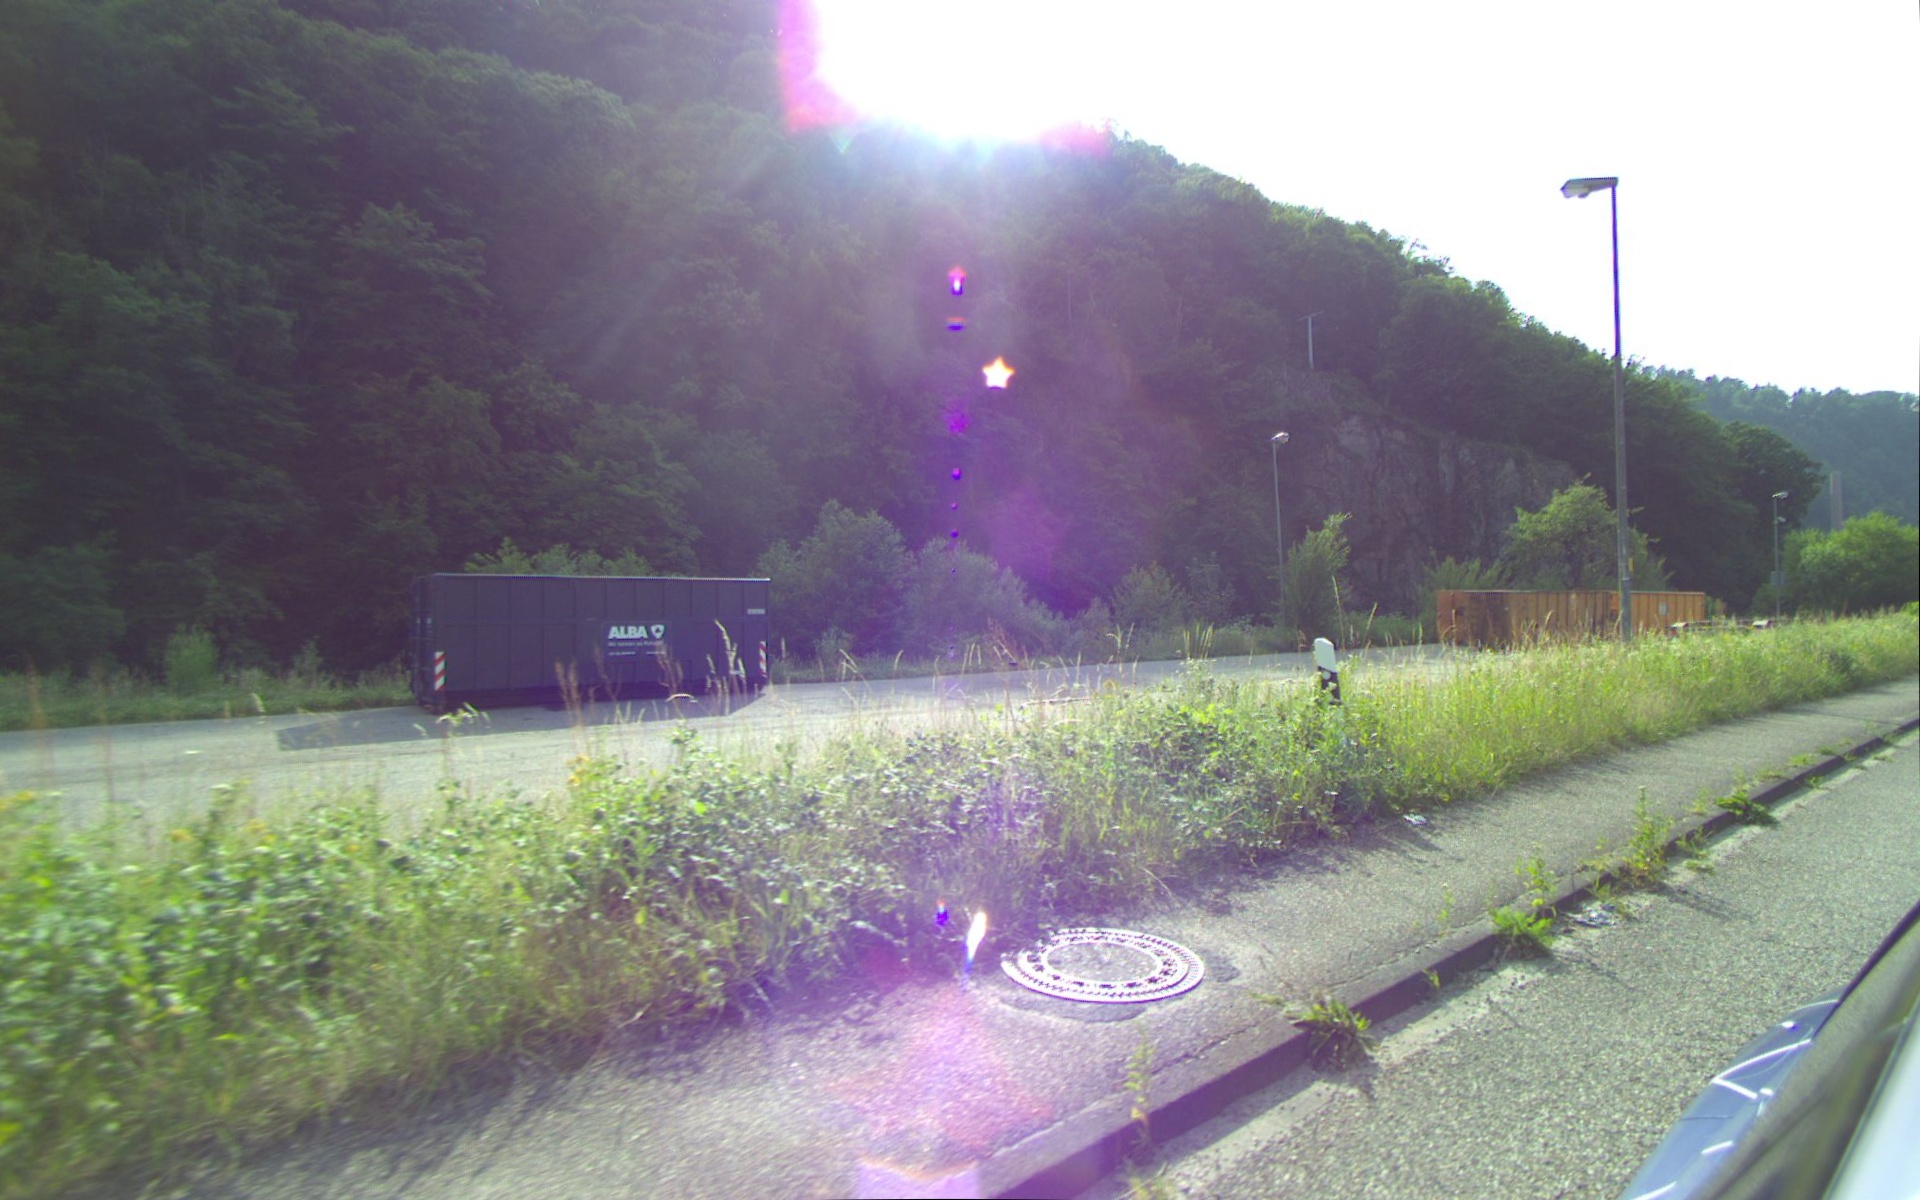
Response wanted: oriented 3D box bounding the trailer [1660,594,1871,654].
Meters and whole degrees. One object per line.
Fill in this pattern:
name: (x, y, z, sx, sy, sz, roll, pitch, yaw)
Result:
trailer: (24.666, 0.674, 30.733, 9.707, 1.493, 2.797, 0, -3, -38)
